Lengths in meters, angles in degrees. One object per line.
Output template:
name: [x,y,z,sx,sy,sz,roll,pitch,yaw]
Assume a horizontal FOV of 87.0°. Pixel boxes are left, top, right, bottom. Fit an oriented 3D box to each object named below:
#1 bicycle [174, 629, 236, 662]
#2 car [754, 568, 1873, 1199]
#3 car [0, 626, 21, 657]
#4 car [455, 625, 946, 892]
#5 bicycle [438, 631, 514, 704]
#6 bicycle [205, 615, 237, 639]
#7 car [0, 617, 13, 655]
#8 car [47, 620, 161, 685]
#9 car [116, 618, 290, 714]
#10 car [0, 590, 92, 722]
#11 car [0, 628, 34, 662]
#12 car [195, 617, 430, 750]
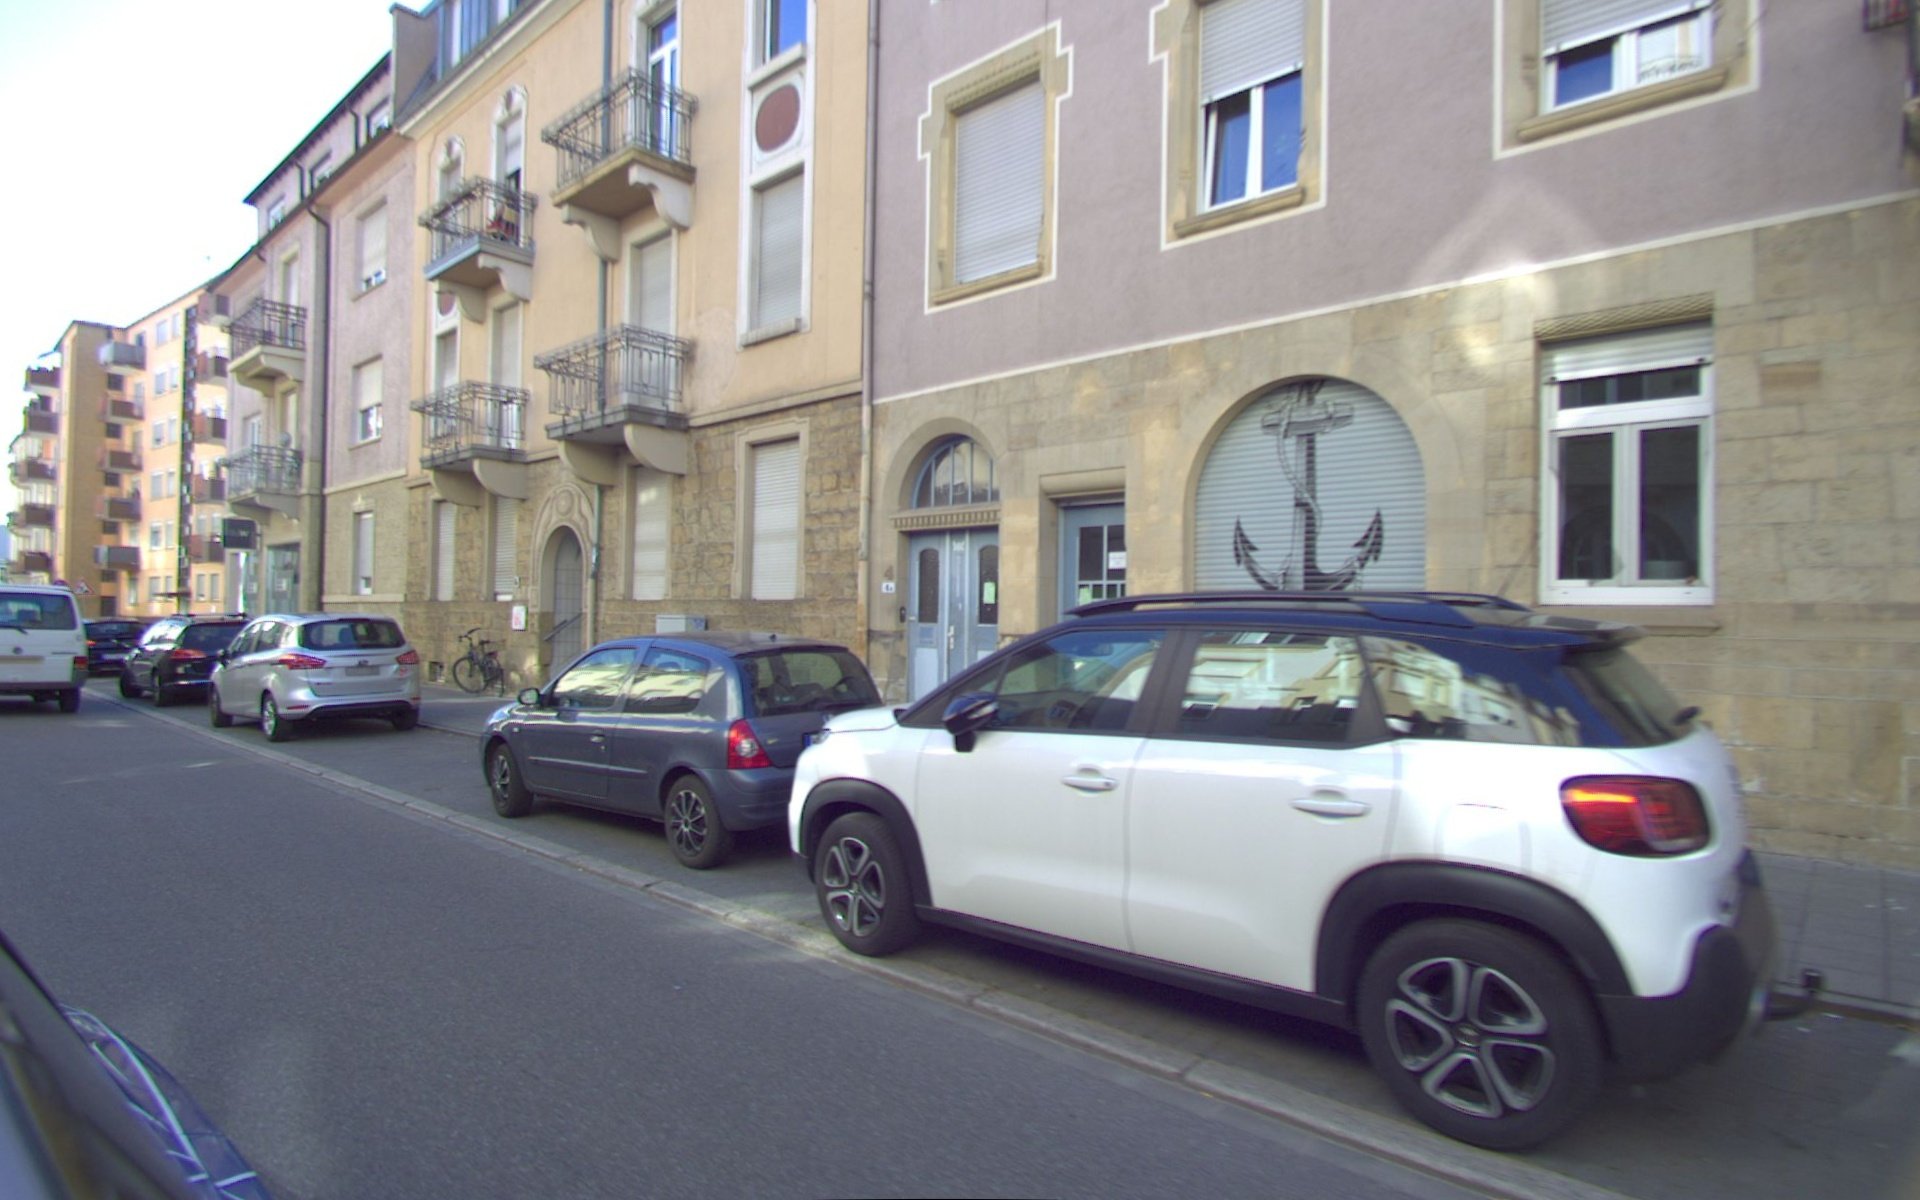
bicycle: [-26.709,1.597,35.811,0.593,1.156,1.643,-1,-2,37]
car: [1.085,0.748,4.262,4.018,1.595,1.697,-1,1,41]
car: [-45.287,1.930,47.426,3.286,1.433,1.656,-1,-2,43]
car: [-2.038,0.932,7.445,3.663,1.404,1.655,-1,1,40]
bicycle: [-8.539,1.170,17.834,1.648,1.221,0.562,-1,-3,40]
bicycle: [-34.403,1.261,47.125,1.802,1.116,0.680,-1,-2,37]
car: [-50.010,1.831,51.887,4.111,1.892,1.798,-1,-2,43]
car: [-21.214,1.236,25.036,3.865,1.397,1.696,-1,1,43]
car: [-13.610,1.106,18.107,4.109,1.533,1.696,-1,-3,42]
car: [-15.907,0.873,16.596,4.598,1.952,1.843,-1,-5,42]
car: [-42.078,1.967,44.529,3.500,1.433,1.656,-1,-2,43]
car: [-8.786,1.014,13.633,3.721,1.550,1.697,-1,-2,41]
